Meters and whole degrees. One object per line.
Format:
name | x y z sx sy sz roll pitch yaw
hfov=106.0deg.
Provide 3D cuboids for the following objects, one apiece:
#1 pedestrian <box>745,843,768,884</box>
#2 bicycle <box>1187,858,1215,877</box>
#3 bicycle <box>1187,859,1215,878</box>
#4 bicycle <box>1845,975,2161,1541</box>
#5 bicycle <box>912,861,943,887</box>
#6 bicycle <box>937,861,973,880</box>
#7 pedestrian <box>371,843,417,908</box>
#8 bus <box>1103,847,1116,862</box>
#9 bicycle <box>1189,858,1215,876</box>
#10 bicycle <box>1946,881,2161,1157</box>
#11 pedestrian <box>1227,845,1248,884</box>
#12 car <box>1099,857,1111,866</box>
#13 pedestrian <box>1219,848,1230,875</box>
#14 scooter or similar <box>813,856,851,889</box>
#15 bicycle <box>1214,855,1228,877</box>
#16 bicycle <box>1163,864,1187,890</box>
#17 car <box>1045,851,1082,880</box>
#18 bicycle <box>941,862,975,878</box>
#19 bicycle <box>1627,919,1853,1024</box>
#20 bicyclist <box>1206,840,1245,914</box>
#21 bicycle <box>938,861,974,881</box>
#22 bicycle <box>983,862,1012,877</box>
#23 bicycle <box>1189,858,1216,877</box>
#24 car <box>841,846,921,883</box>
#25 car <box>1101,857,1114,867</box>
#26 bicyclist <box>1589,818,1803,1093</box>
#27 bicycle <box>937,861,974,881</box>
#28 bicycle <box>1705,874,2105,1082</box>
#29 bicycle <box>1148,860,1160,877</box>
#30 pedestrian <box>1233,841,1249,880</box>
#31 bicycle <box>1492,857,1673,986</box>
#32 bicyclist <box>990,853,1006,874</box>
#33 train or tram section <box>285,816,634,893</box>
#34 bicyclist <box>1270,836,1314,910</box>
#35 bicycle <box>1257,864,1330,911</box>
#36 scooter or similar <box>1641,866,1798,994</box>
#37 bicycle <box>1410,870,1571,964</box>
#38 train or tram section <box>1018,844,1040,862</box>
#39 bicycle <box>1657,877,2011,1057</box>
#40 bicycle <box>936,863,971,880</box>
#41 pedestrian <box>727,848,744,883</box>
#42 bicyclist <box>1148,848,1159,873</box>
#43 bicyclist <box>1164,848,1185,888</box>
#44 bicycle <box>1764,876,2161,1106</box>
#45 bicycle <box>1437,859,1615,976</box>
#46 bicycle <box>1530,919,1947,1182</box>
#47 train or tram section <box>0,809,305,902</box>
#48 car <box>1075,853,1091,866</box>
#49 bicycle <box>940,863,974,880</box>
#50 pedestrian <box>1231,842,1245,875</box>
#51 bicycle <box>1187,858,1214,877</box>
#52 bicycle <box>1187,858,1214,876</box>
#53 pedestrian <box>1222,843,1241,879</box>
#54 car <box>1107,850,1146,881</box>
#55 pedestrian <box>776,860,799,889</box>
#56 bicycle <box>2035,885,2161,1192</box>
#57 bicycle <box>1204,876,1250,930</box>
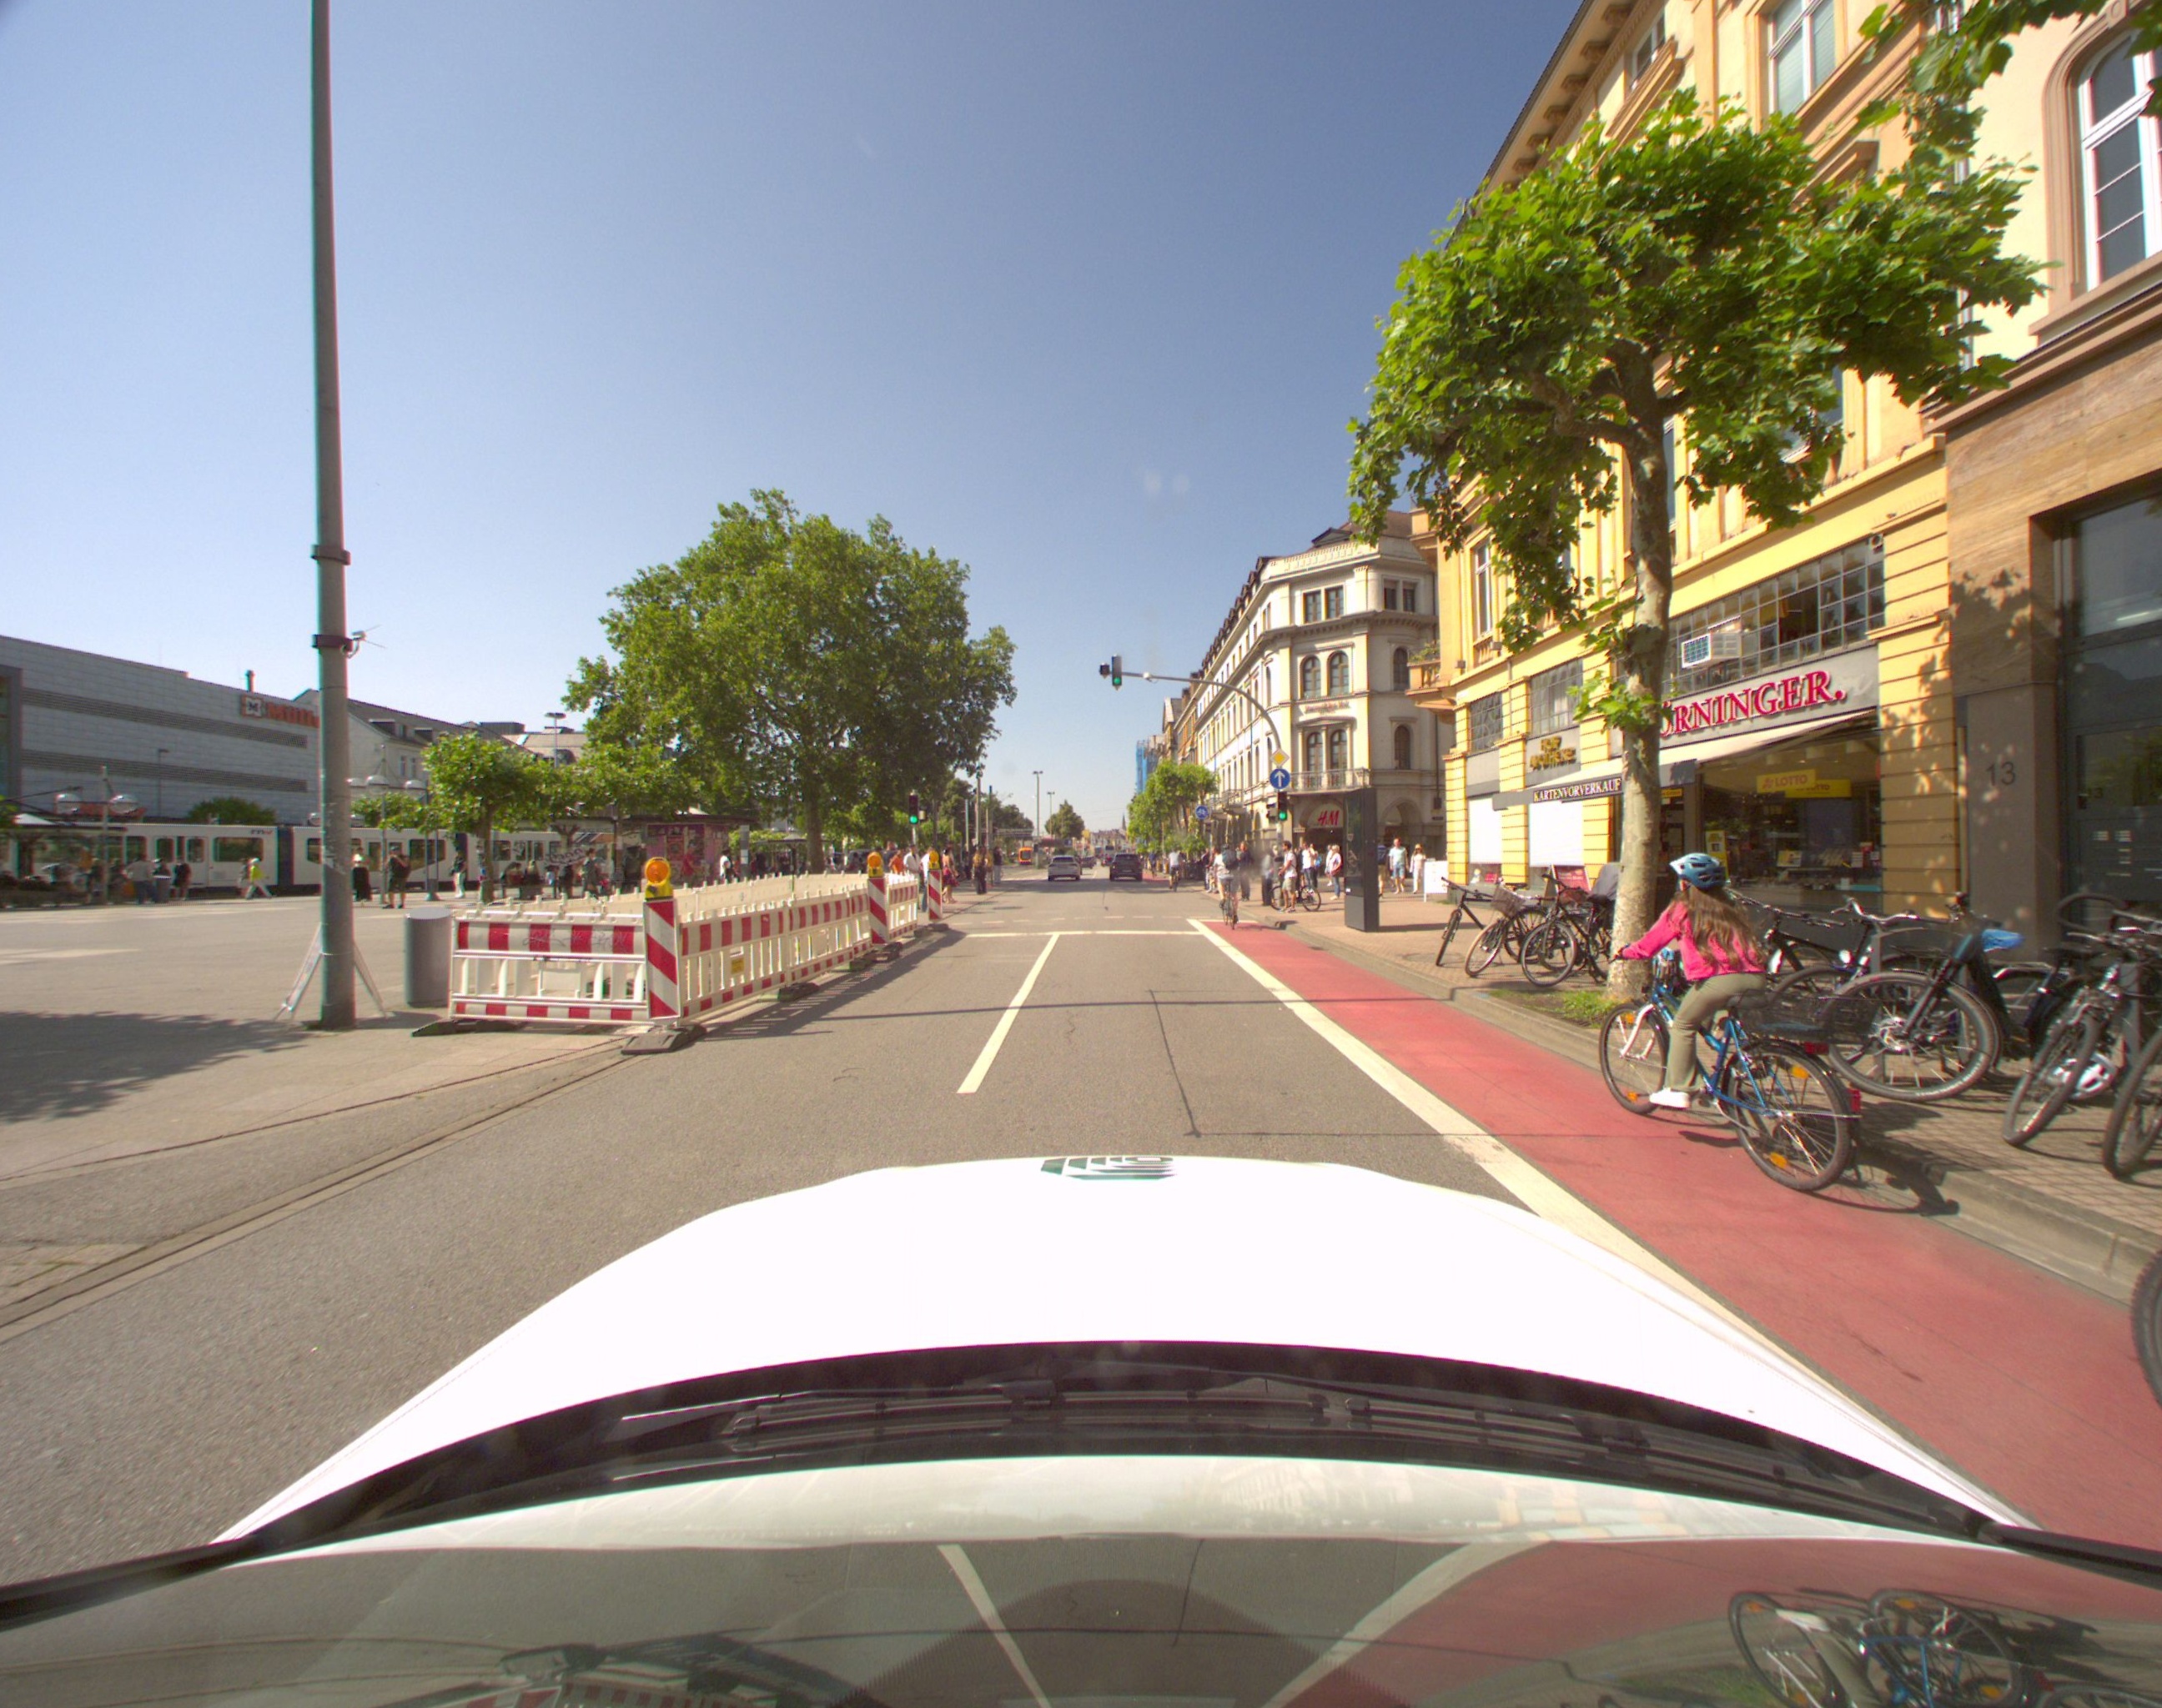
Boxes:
pedestrian | -14.692 0.429 36.898 0.627 1.810 0.618 -4 -2 21
bicycle | 6.480 0.730 44.098 1.415 0.980 0.445 -2 1 2
bicycle | 6.359 0.767 43.278 1.415 0.980 0.445 -2 1 2
bicycle | 2.725 0.943 1.475 0.696 1.127 2.080 1 0 -2
bicycle | -6.345 0.798 33.781 0.486 1.029 1.941 -1 0 14
bicycle | -7.487 0.973 48.478 2.082 1.089 0.682 -1 -1 -10
pedestrian | -19.026 0.587 22.563 0.598 1.749 0.809 0 -1 33
bus | 6.903 0.104 198.371 2.984 3.594 11.746 0 0 1
bicycle | 6.832 0.722 45.937 1.415 0.980 0.401 -2 1 2
bicycle | 5.262 0.737 3.813 1.836 1.201 0.475 0 0 3
pedestrian | 7.493 0.489 39.054 0.608 1.806 0.677 -8 -1 0
car | 3.722 1.177 126.864 1.839 1.413 4.001 0 0 1
pedestrian | 9.341 0.488 53.042 0.626 1.791 0.612 -1 -1 1
scooter or similar | -11.240 0.827 36.817 1.264 1.421 1.045 -1 -1 32
bicycle | 7.462 0.635 43.488 0.396 1.114 1.433 -2 1 22
bicycle | 3.870 0.935 33.708 0.771 1.006 2.330 -1 0 2
car | -0.965 0.633 46.617 1.838 1.560 4.002 -1 0 2
bicycle | -7.831 1.031 51.904 2.082 0.980 0.682 -1 -1 -10
bicycle | 5.691 0.972 7.031 1.850 0.715 0.655 0 0 -20
bicyclist | 2.986 0.467 16.904 0.628 1.481 1.198 0 0 1
bicycle | -7.353 0.979 47.824 2.082 1.089 0.682 -1 -1 -10
bicycle | -6.008 1.132 58.539 1.965 1.026 0.675 0 0 -16
bicycle | 6.646 0.726 44.556 1.415 0.980 0.445 -2 1 2
car | -11.091 0.576 45.495 1.843 1.955 4.786 -1 0 23
car | 3.689 1.079 114.451 1.839 1.413 4.001 0 0 1
bicyclist | 3.271 0.503 4.396 0.598 1.358 0.721 0 -1 1
bicycle | -7.293 0.976 47.147 2.082 1.089 0.682 -1 -1 -10
bicycle | 5.102 0.738 5.128 1.836 1.201 0.609 0 0 3
bicycle | 4.668 0.922 52.265 0.645 0.998 2.031 0 0 1
pedestrian | 7.529 0.298 38.309 0.608 1.807 0.677 0 -1 0
bicycle | 5.500 0.692 8.938 1.826 1.309 0.684 0 0 -19
bicyclist | -5.961 0.652 58.561 1.051 1.502 0.737 0 0 -17
train or tram section | -34.033 -0.017 46.162 2.587 3.676 15.647 0 0 35
bicyclist | 5.292 0.461 20.446 0.577 1.797 0.848 -3 1 -33
bicycle | 5.302 0.815 20.454 0.604 1.082 1.820 -3 1 -33
scooter or similar | 6.458 0.727 8.299 0.422 1.178 1.224 0 0 -19
bicycle | 5.217 0.787 10.423 1.777 1.122 0.562 -1 0 -2
train or tram section | -9.784 -0.178 154.263 2.600 3.348 11.018 0 0 5
bicycle | 5.240 0.760 5.757 1.836 1.164 0.660 0 0 3
bicycle | -7.758 1.063 49.487 2.082 0.980 0.682 -1 -1 -10
pedestrian | -16.073 0.551 37.882 0.494 1.603 0.501 -3 -1 21
bicyclist | 4.660 0.409 52.200 0.645 1.551 0.818 0 0 1
bicyclist | 3.860 0.572 33.689 0.771 1.635 0.851 -1 0 2
bicycle | 5.050 0.734 4.623 1.836 1.201 0.545 0 0 3
bicycle | 5.212 0.698 9.542 1.938 1.257 0.701 0 0 -18
bicycle | 3.280 0.893 4.396 0.598 0.926 2.088 0 -1 1
train or tram section | -41.752 0.040 35.572 2.588 3.676 11.072 0 0 37
car | 0.224 0.656 97.780 1.839 1.560 4.001 0 0 1
bicycle | -7.713 1.096 50.711 2.082 0.980 0.682 -1 -1 -10
pedestrian | 8.775 0.244 45.527 0.673 1.791 0.612 -1 -1 1
bicycle | 6.625 0.737 45.012 1.415 0.980 0.445 -2 1 2
bicycle | 6.663 0.726 45.505 1.415 0.980 0.445 -2 1 2
pedestrian | 7.439 0.347 40.192 0.613 1.705 0.672 -2 0 -27
car | 2.481 0.620 45.524 1.840 1.559 3.999 -3 0 -1
pedestrian | -13.510 0.933 37.490 0.627 1.293 0.735 -1 -1 22
bicycle | 5.122 0.738 3.402 1.642 1.201 0.475 0 0 3
bicycle | 2.984 0.978 16.807 0.628 0.980 2.089 0 0 1
